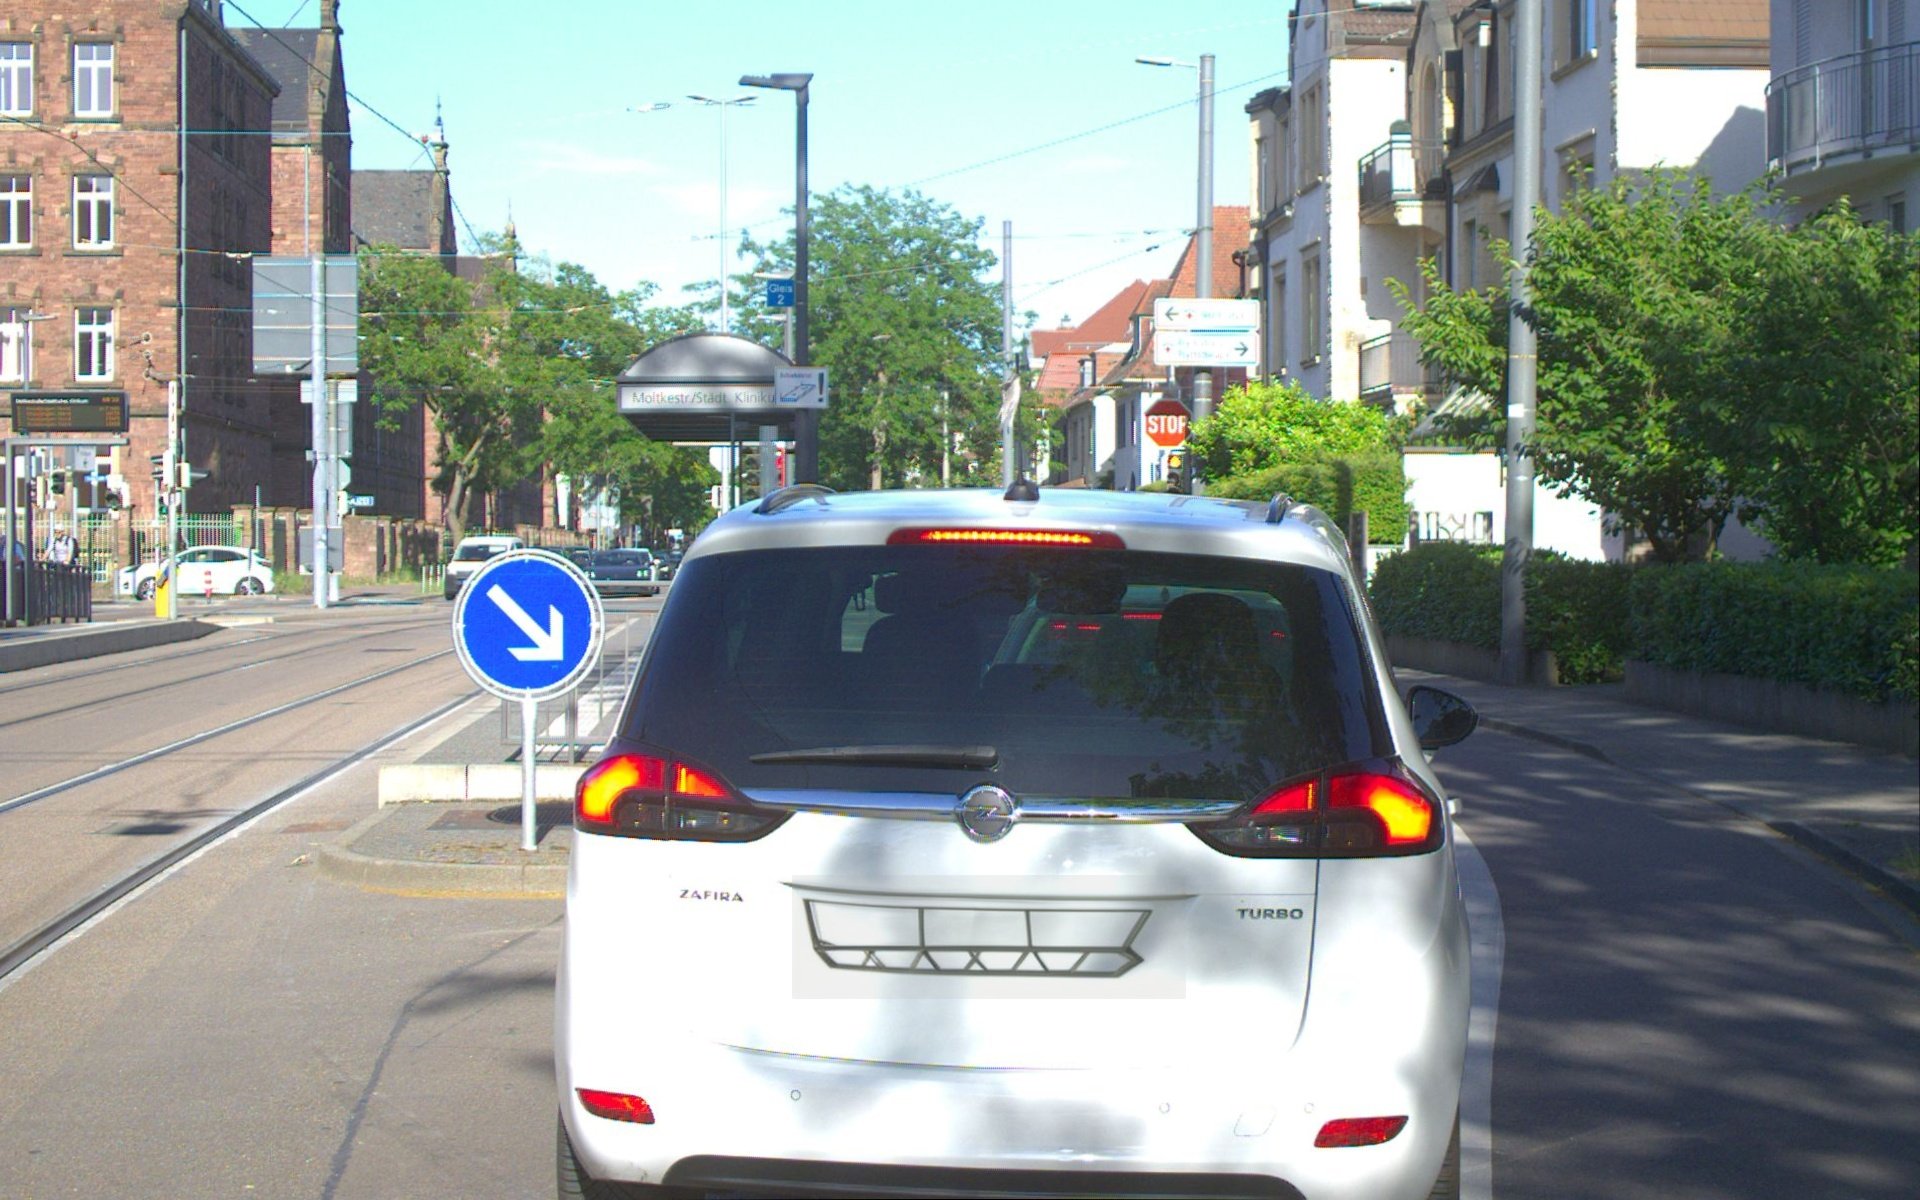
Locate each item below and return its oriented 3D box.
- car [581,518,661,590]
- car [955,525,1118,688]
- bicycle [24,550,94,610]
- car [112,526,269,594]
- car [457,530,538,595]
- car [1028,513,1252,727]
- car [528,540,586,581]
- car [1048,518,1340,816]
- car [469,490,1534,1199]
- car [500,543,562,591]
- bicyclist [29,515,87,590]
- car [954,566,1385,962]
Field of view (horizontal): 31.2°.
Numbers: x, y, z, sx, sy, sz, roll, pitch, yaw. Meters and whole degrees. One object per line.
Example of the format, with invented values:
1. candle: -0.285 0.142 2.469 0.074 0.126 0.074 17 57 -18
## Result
1. car: -9.668 -1.315 98.231 1.993 2.007 4.000 0 1 -2
2. car: 0.789 0.037 37.733 1.596 1.629 3.901 2 1 -1
3. bicycle: -18.725 -0.428 71.511 0.777 1.226 2.088 0 1 4
4. car: -20.796 -1.077 92.875 3.986 1.803 1.704 0 1 -19
5. car: -13.090 -1.076 97.493 1.827 1.782 4.255 0 1 -1
6. car: 1.462 0.122 29.176 1.596 1.629 3.901 2 1 -1
7. car: -14.645 -1.440 125.169 1.826 1.441 4.328 1 0 -3
8. car: 1.465 0.334 21.041 1.569 1.609 3.783 2 1 5
9. car: 0.231 0.569 8.098 1.878 1.579 3.999 1 1 5
10. car: -14.671 -1.114 117.669 1.826 1.611 4.328 1 0 -4
11. bicyclist: -18.736 -0.990 71.447 0.760 1.531 1.348 0 1 4
12. car: 0.947 0.594 14.792 1.569 1.396 3.783 2 1 5
